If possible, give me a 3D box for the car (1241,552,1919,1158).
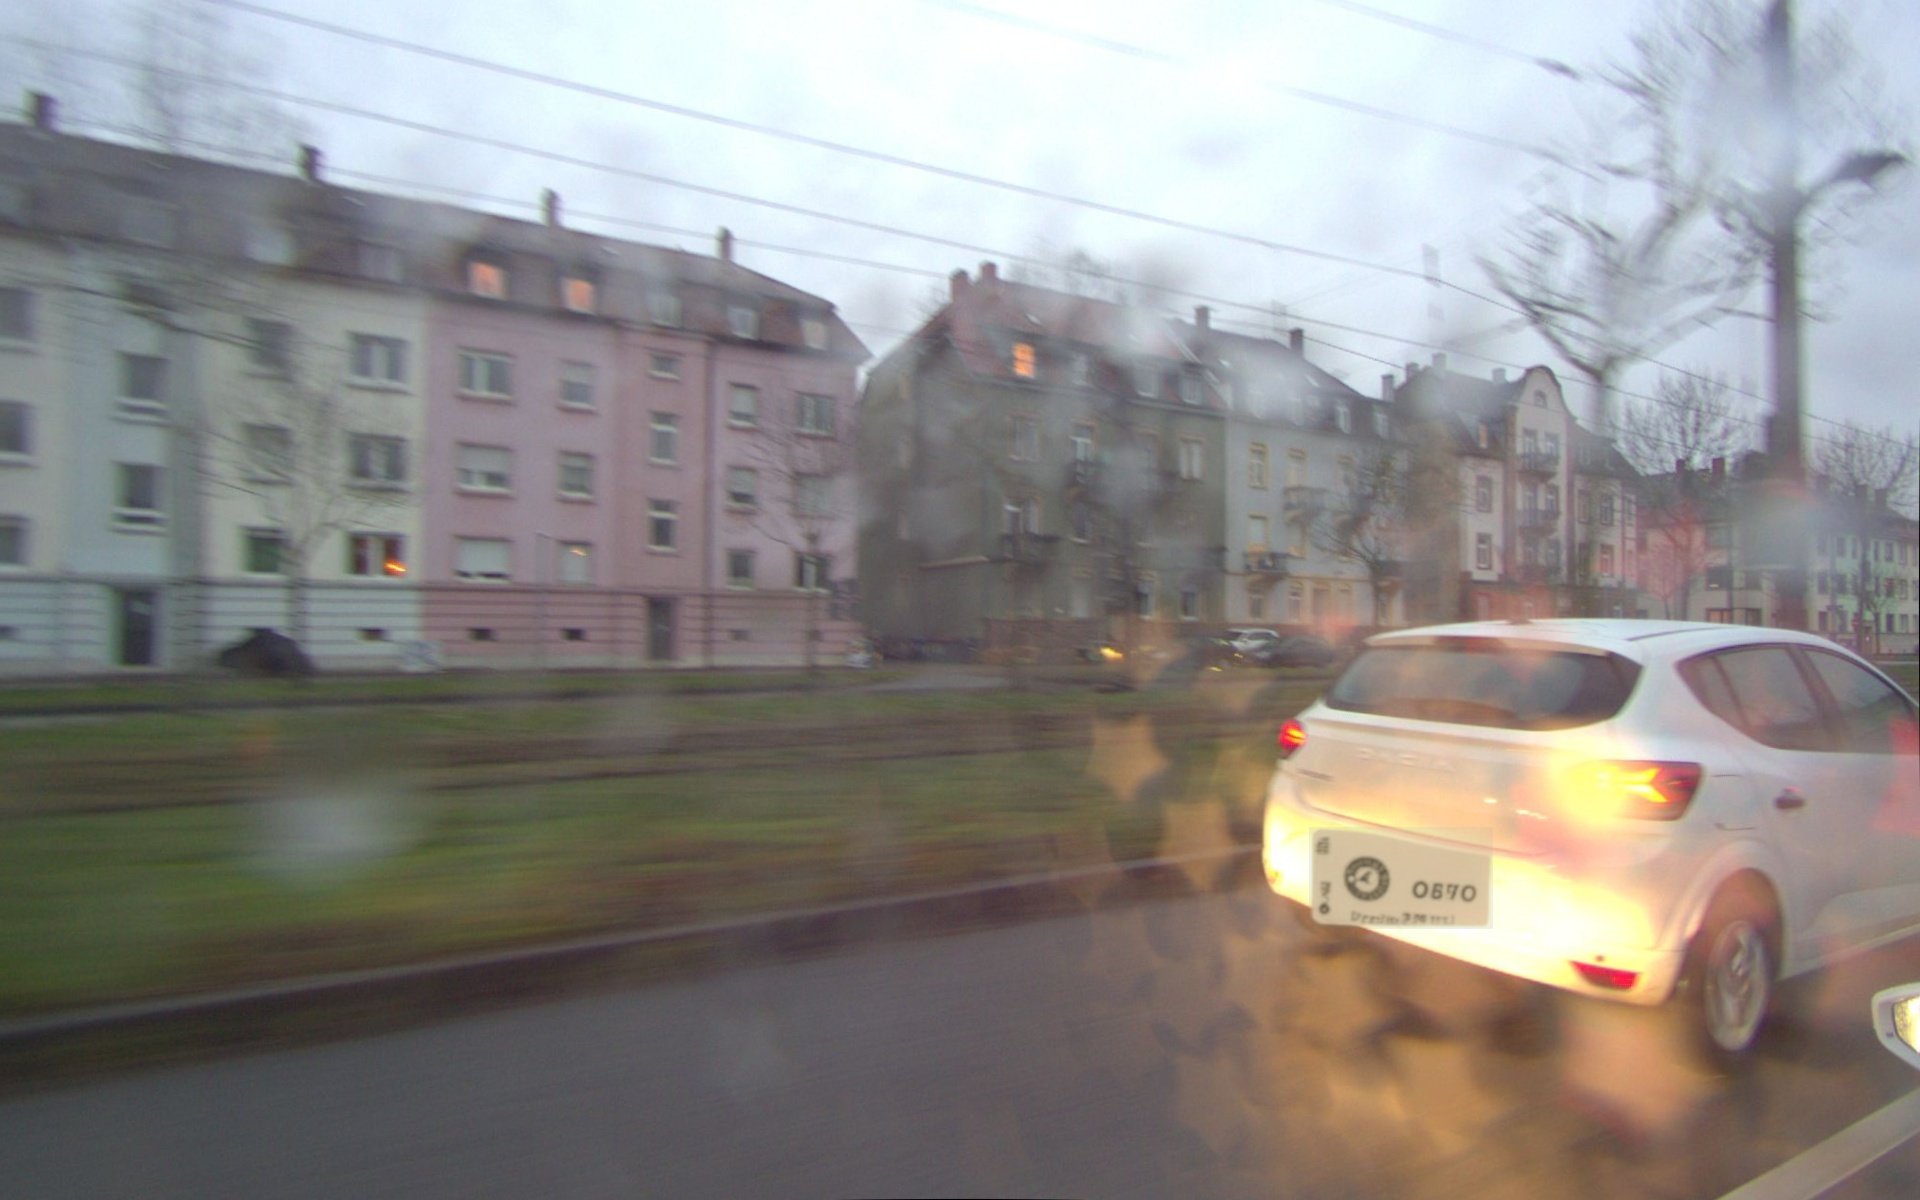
[{"bbox_3d":[3.280,0.733,4.500,4.010,1.621,1.662,2,-1,-33],"label":"car"}]

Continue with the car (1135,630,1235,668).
[{"bbox_3d":[8.690,1.865,38.812,3.515,1.372,1.768,1,-2,-30],"label":"car"}]

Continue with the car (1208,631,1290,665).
[{"bbox_3d":[13.472,2.218,46.844,3.515,1.520,1.768,1,-2,-30],"label":"car"}]

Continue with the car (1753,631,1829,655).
[{"bbox_3d":[49.167,2.506,59.522,1.746,1.372,3.559,0,-2,5],"label":"car"}]

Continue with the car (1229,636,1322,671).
[{"bbox_3d":[12.961,2.170,41.284,3.515,1.372,1.768,1,-2,-30],"label":"car"}]

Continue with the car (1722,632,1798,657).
[{"bbox_3d":[45.805,2.530,57.604,1.746,1.372,3.559,0,-2,5],"label":"car"}]

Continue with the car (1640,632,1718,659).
[{"bbox_3d":[37.688,2.349,52.765,1.746,1.372,3.559,0,-2,5],"label":"car"}]

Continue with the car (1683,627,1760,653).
[{"bbox_3d":[42.368,2.215,55.969,1.746,1.372,3.559,0,-2,5],"label":"car"}]
